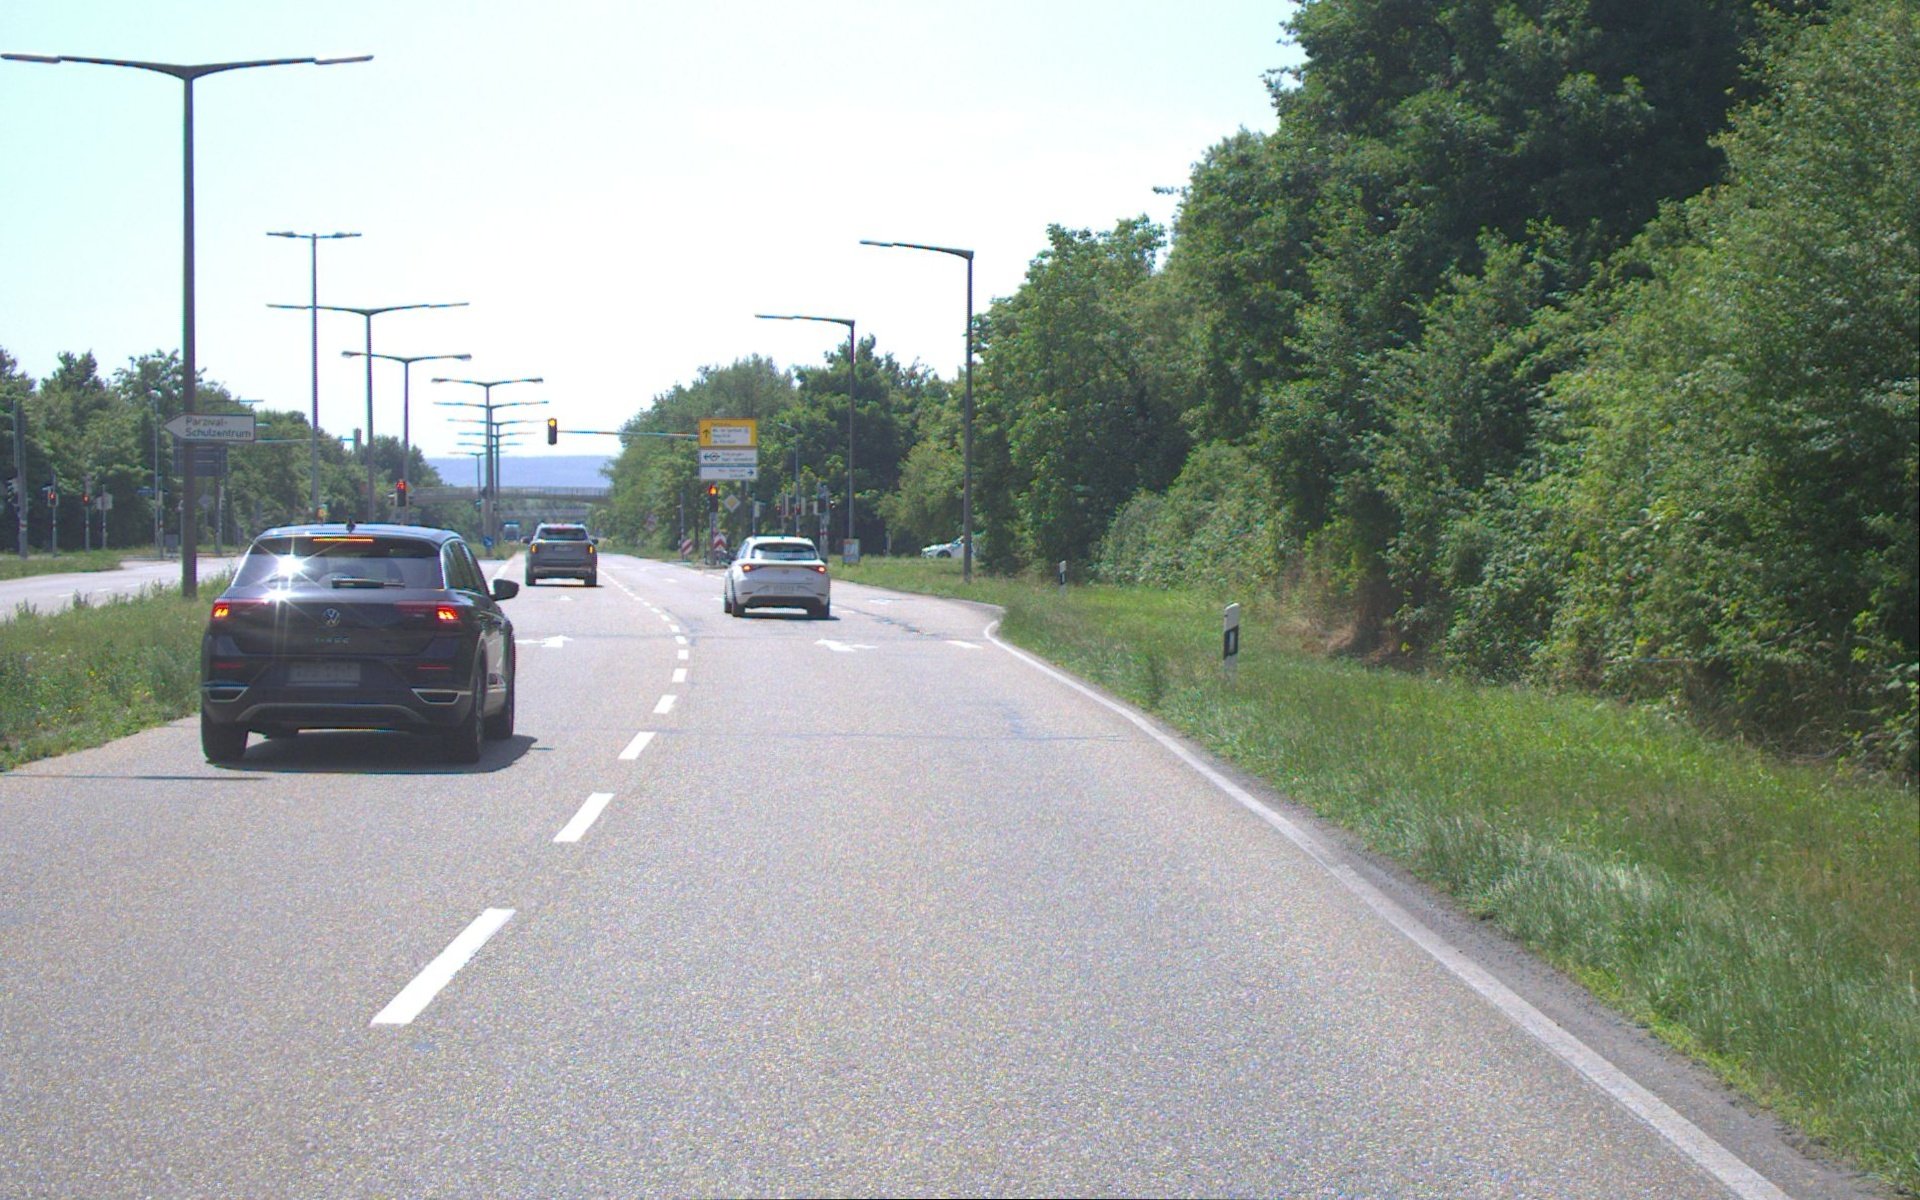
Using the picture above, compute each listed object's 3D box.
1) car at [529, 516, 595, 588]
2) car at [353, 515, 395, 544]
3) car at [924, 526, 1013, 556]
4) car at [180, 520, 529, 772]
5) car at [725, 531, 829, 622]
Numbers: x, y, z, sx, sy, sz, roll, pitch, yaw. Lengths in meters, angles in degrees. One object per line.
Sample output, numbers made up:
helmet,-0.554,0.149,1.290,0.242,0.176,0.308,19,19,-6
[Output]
car,-10.944,-1.334,94.544,1.755,1.922,4.001,1,1,-6
car,-31.098,-3.739,182.566,1.828,1.514,4.001,1,1,-4
car,0.423,-2.964,172.769,4.100,1.520,1.939,0,1,-14
car,-4.013,0.255,23.366,1.755,1.551,4.000,1,1,-1
car,-3.340,-0.444,62.158,1.797,1.577,4.001,0,1,-4
